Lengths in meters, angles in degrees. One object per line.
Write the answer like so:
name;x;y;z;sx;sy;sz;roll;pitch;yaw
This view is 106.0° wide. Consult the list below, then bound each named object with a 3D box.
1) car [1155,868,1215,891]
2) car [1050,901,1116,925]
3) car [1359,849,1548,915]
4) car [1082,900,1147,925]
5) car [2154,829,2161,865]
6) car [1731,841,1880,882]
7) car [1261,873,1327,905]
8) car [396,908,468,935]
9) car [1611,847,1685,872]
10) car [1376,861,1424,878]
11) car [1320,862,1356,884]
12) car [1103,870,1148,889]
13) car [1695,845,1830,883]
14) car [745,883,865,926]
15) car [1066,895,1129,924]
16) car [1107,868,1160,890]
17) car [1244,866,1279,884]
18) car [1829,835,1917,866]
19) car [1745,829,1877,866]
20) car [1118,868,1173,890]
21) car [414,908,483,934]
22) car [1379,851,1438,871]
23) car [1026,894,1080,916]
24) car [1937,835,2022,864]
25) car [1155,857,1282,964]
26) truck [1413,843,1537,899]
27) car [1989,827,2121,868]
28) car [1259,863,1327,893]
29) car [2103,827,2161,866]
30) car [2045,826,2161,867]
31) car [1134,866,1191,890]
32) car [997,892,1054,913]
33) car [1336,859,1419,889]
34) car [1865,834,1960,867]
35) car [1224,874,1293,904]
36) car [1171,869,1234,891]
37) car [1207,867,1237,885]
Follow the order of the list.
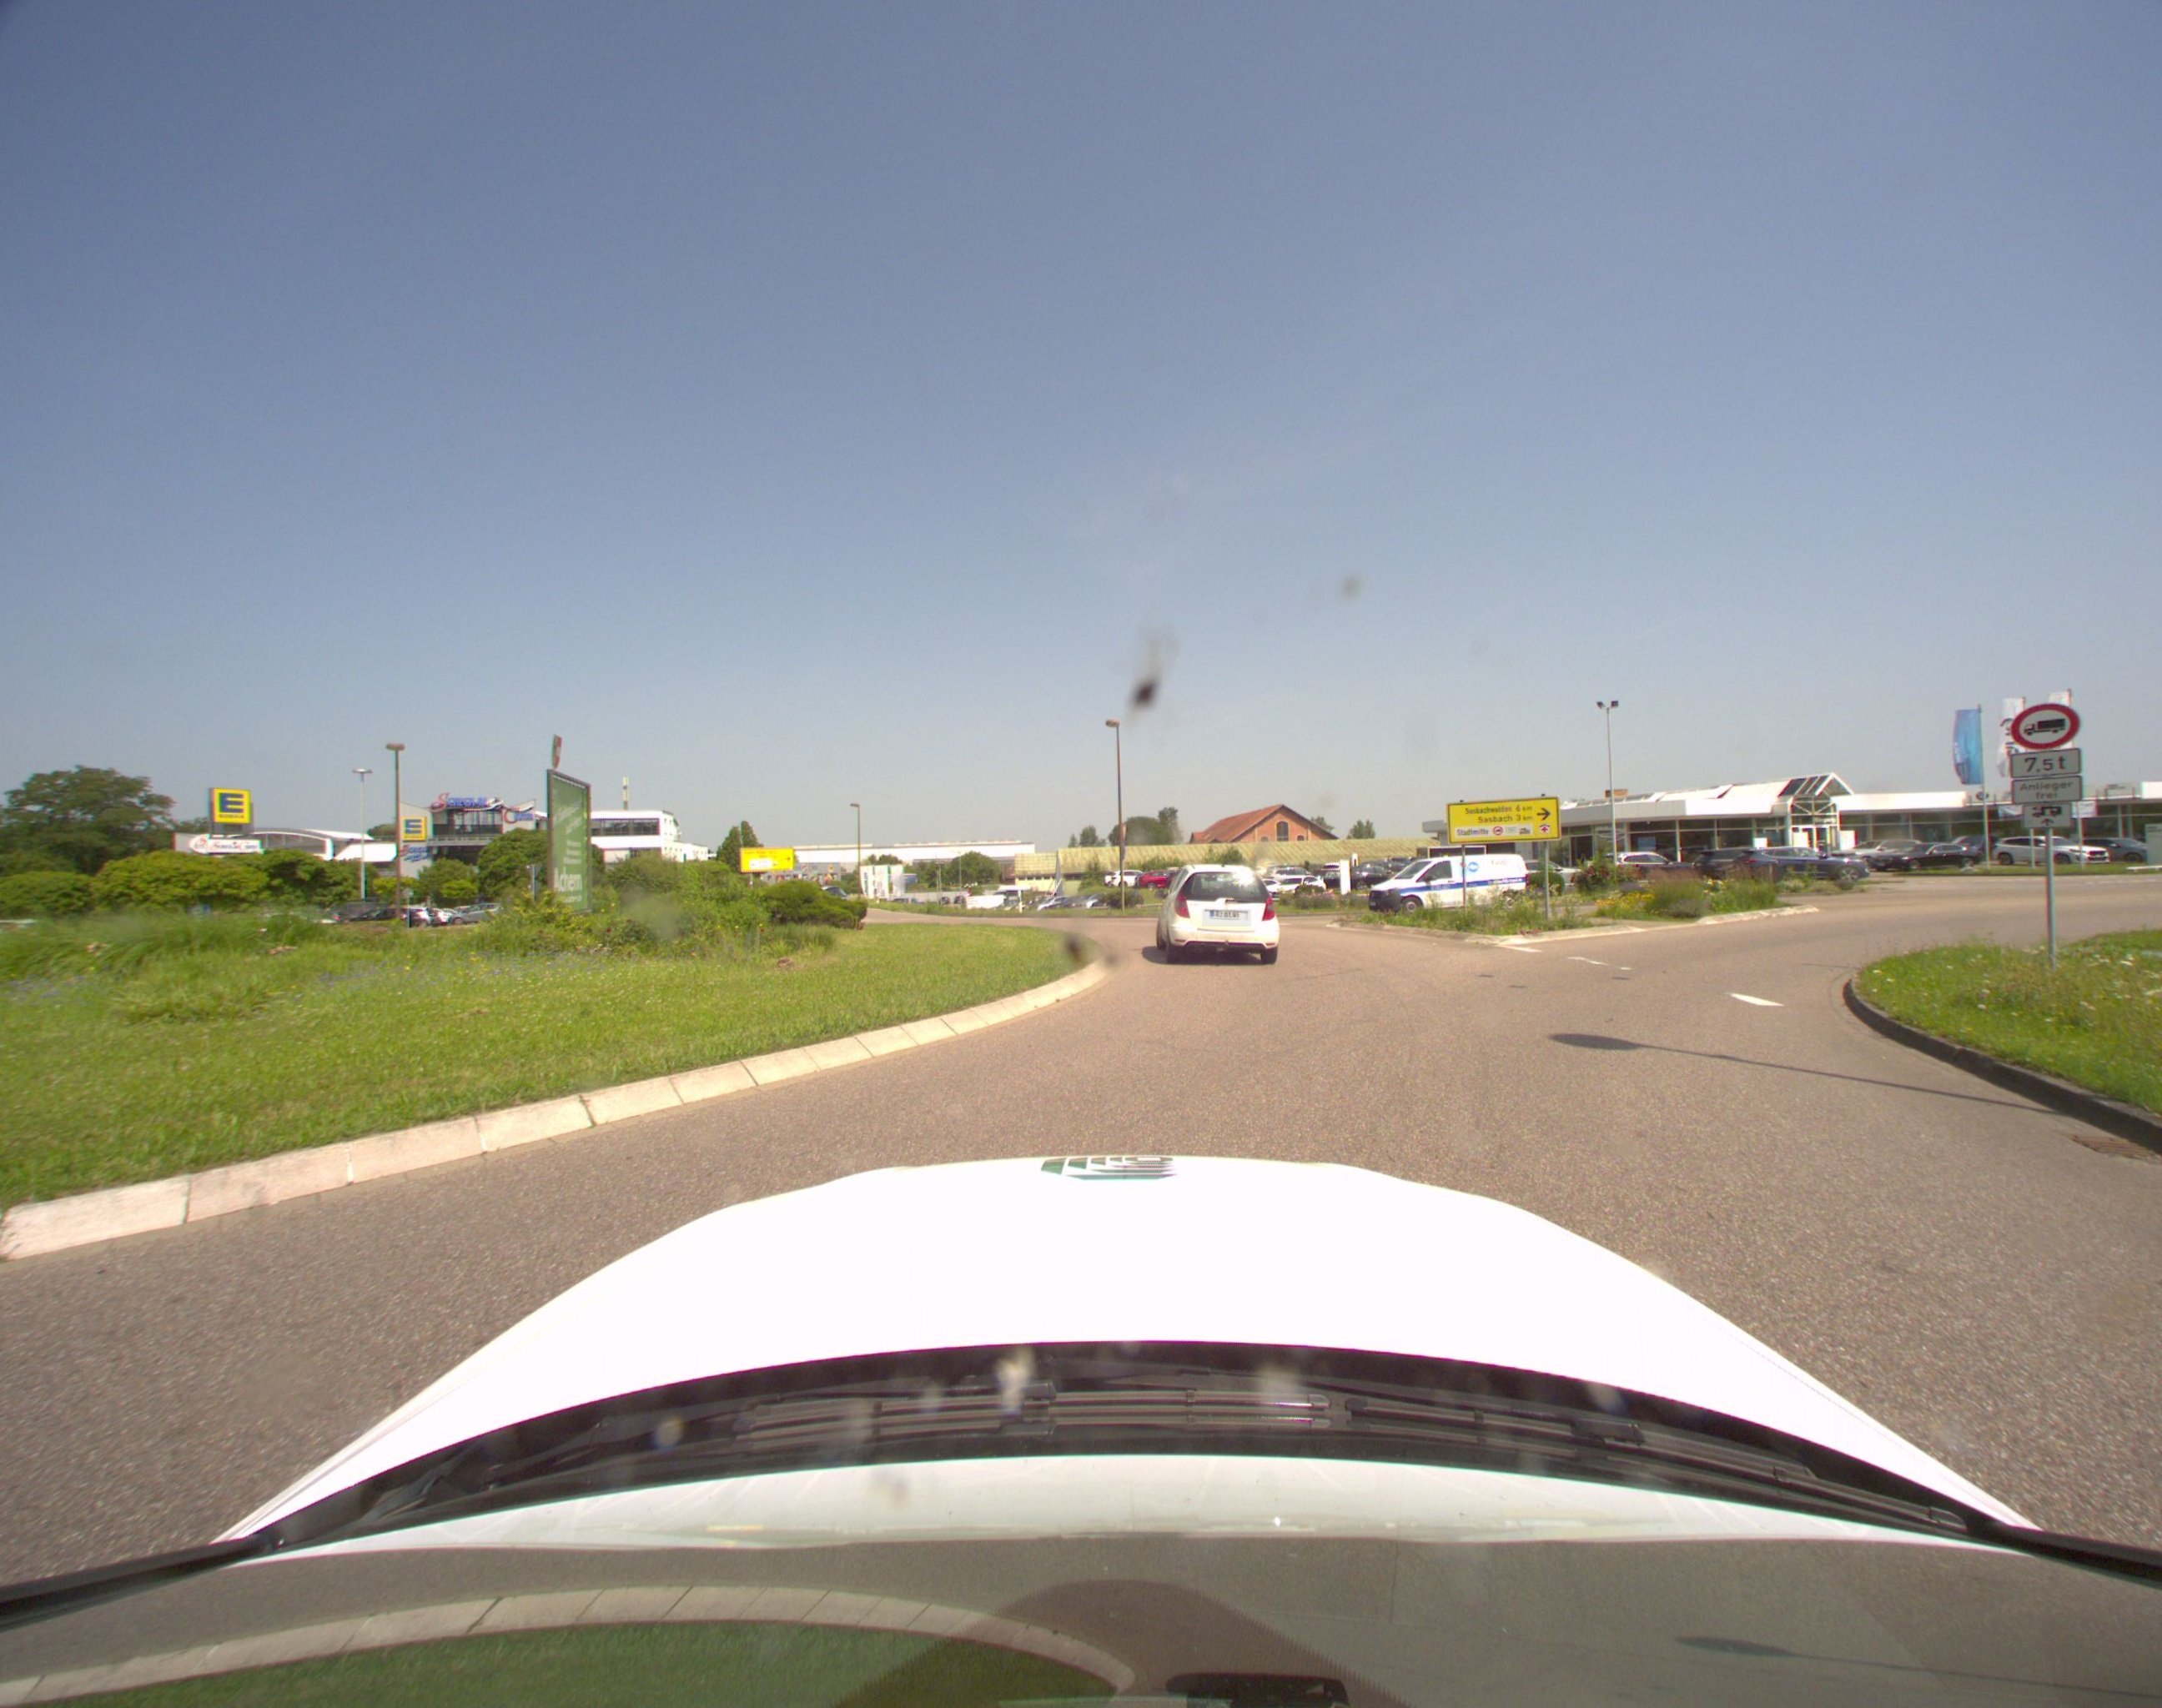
car;8.355;2.047;65.592;4.449;1.635;1.945;-3;-2;-7
car;0.179;4.662;64.557;4.792;1.508;1.982;-3;-4;-26
car;11.927;0.915;26.306;5.198;1.938;1.859;-1;-3;-2
car;2.431;4.254;59.253;4.270;1.465;1.857;-3;-4;-26
car;63.201;-0.515;45.021;1.989;2.014;4.256;-1;-3;-3
car;30.873;0.343;34.893;4.321;1.512;1.921;-3;-2;25
car;12.981;2.096;49.412;1.746;1.570;4.694;-4;0;43
car;-41.798;4.345;52.521;3.309;1.574;1.552;-2;-3;-7
car;41.466;0.407;59.612;4.017;1.586;1.908;-3;-1;-2
car;26.125;1.263;66.739;1.664;1.275;3.308;-2;-2;-32
car;20.351;1.479;64.306;1.636;1.586;4.295;-4;-2;32
car;4.086;2.371;75.640;3.871;1.533;1.764;-3;-2;-7
car;31.080;0.483;37.322;4.321;1.512;1.921;-3;-2;25
car;-10.720;1.969;31.744;4.049;1.530;1.788;-2;-3;8
car;1.281;4.220;62.031;4.271;1.748;1.982;-3;-4;-26
car;4.743;2.269;73.363;4.449;1.747;1.834;-3;-2;-7
car;17.722;2.061;80.292;2.184;1.596;4.297;-3;-2;-4
car;46.110;-0.210;47.469;3.678;1.654;1.579;-1;-3;-4
car;35.293;-0.287;39.541;4.321;1.512;1.921;-3;-2;25
car;5.567;2.169;70.810;4.449;1.747;1.834;-3;-2;-7
car;-42.686;4.494;55.000;3.309;1.574;1.552;-2;-3;-7
car;29.414;0.641;73.266;4.442;1.522;1.948;-3;-2;-3
car;-2.361;4.244;67.978;4.012;1.552;1.980;-2;-5;-30
car;56.290;-0.258;51.072;3.678;1.654;1.579;-1;-3;-4
car;2.270;0.868;14.336;1.773;1.603;3.896;-1;0;3
truck;21.005;0.916;43.574;5.593;2.665;1.948;-3;-1;-2
car;53.784;-0.299;45.112;1.989;2.014;4.256;-1;-3;-3
car;14.532;1.639;55.957;3.992;1.750;1.945;-4;-1;-7
car;60.098;-0.452;44.878;1.989;2.014;4.256;-1;-3;-3
car;57.102;-0.369;45.195;1.989;2.014;4.256;-1;-3;-3
car;6.837;2.032;68.591;4.449;1.747;1.945;-3;-2;-7
car;-4.892;4.249;71.898;4.508;1.640;2.126;0;-5;-30
car;18.647;1.263;51.289;4.408;1.500;1.944;-5;-2;-7
car;45.590;-0.168;44.686;3.678;1.654;1.579;-1;-3;-4
car;11.243;2.203;51.370;4.602;1.571;1.747;-2;-3;-41
car;9.462;2.018;63.607;4.449;1.500;1.945;-3;-1;-7
car;13.756;2.138;79.634;1.913;1.596;4.297;-3;-2;-4
